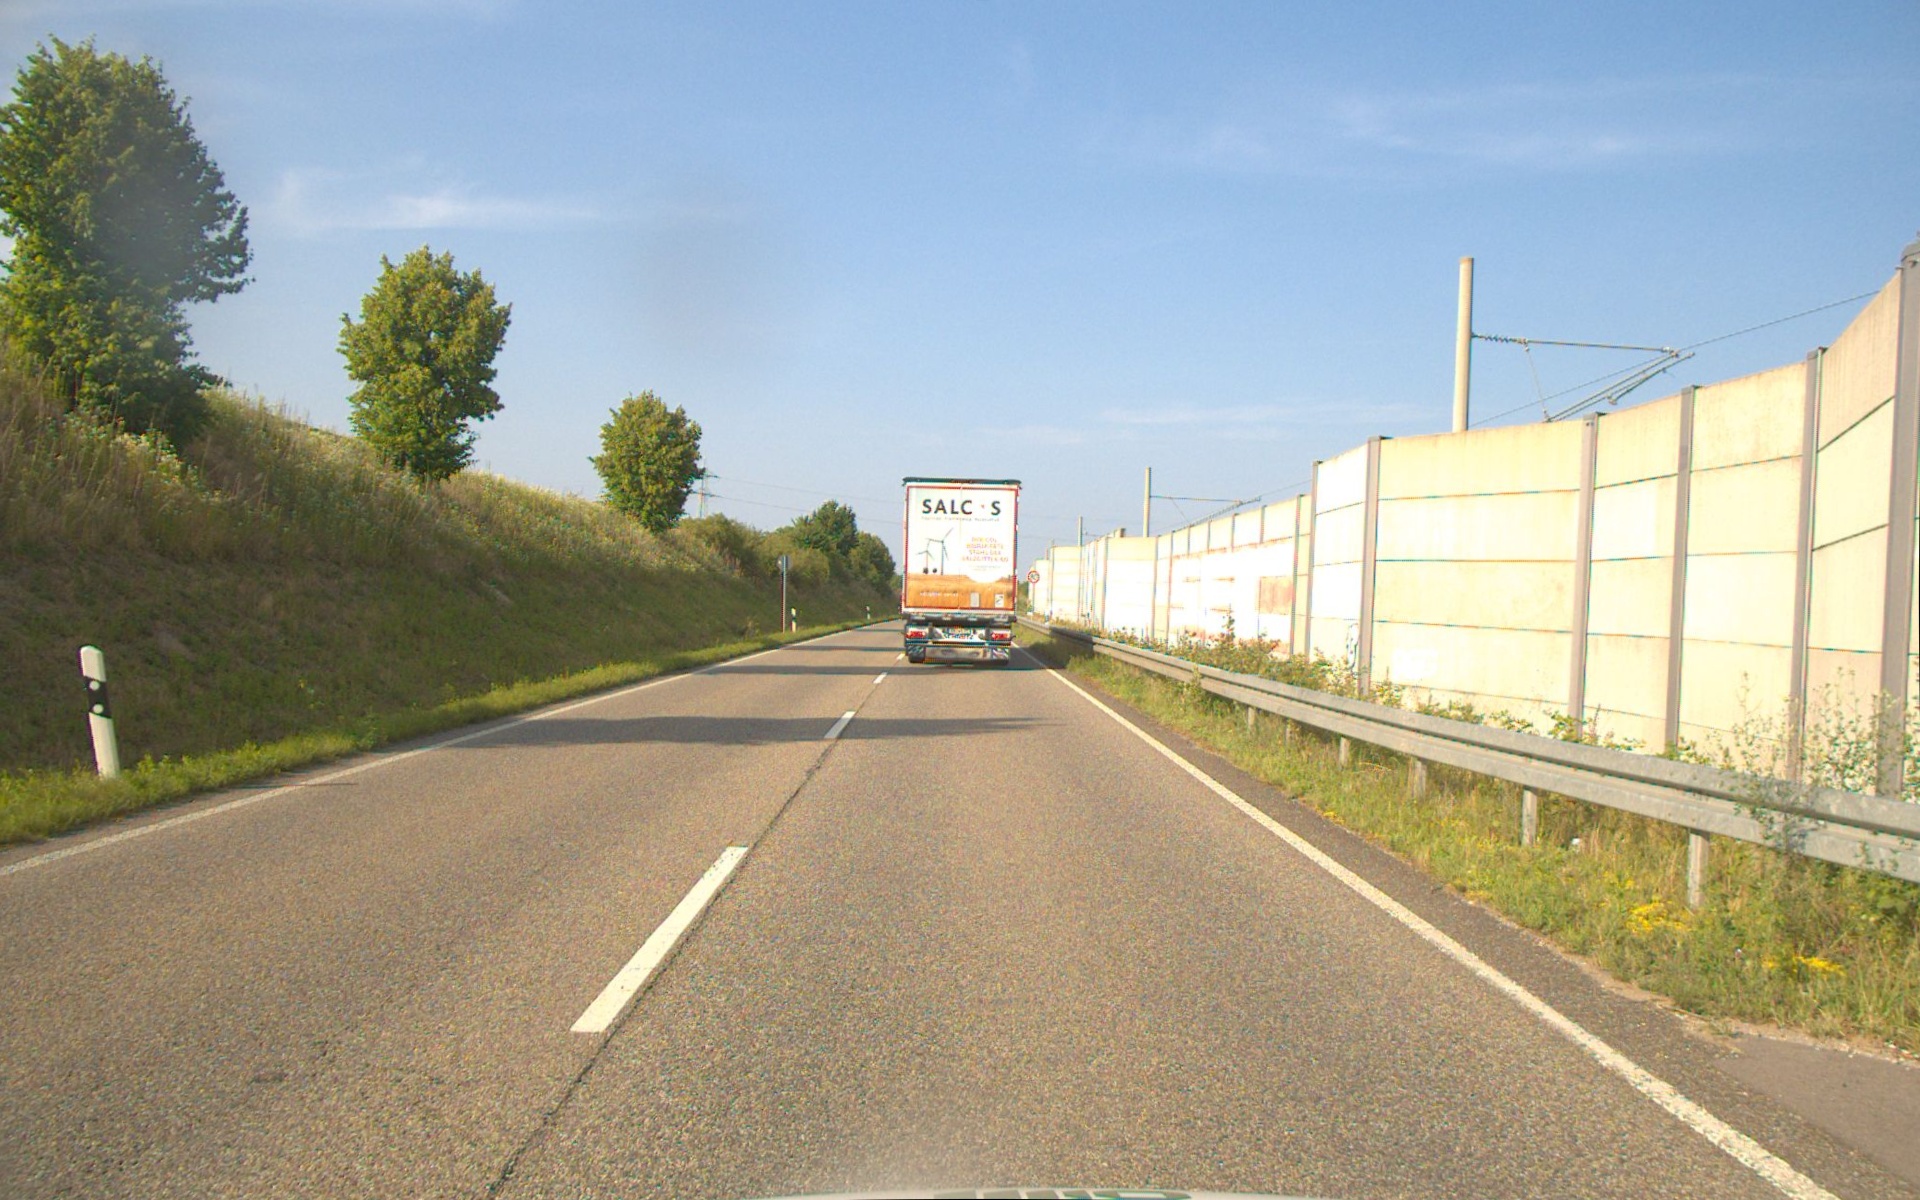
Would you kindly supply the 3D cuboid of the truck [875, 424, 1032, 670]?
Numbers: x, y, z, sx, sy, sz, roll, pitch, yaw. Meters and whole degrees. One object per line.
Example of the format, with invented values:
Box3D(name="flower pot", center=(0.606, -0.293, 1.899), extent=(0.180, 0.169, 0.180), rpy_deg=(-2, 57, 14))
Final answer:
Box3D(name="truck", center=(-0.294, -1.139, 41.498), extent=(3.224, 5.179, 12.033), rpy_deg=(2, 0, -1))
